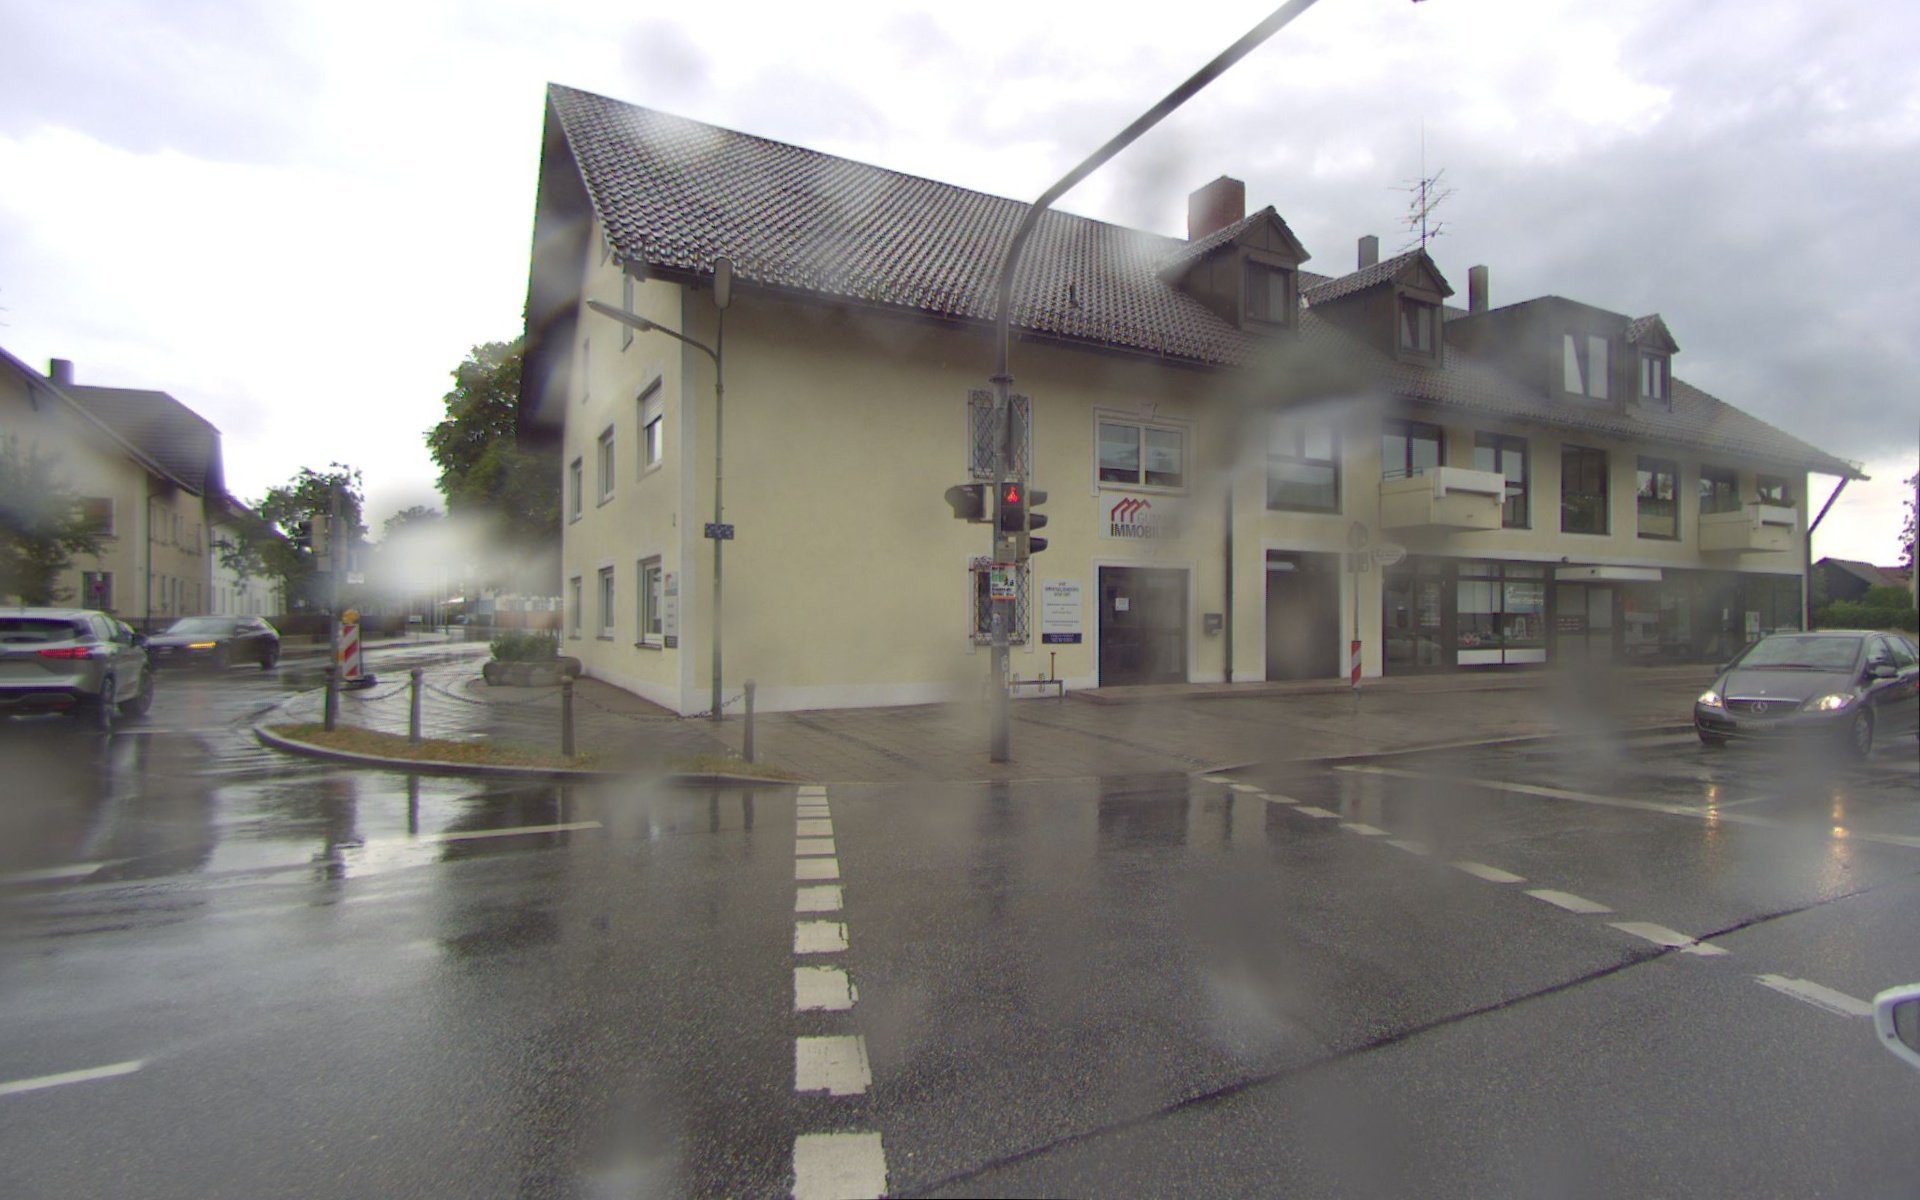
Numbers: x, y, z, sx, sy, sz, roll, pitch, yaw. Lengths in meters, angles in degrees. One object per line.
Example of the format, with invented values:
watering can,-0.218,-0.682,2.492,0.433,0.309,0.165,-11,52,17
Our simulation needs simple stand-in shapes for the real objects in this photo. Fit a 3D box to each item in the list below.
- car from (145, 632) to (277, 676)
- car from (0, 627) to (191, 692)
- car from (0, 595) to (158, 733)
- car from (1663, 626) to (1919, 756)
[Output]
car,-19.631,1.380,26.506,1.400,1.030,4.061,1,-1,-16
car,-18.357,1.193,21.337,1.662,1.201,4.346,1,-1,-16
car,-12.893,0.856,14.149,2.067,1.695,4.346,2,-3,-34
car,11.736,1.152,13.876,3.854,1.553,1.907,1,-2,-31
